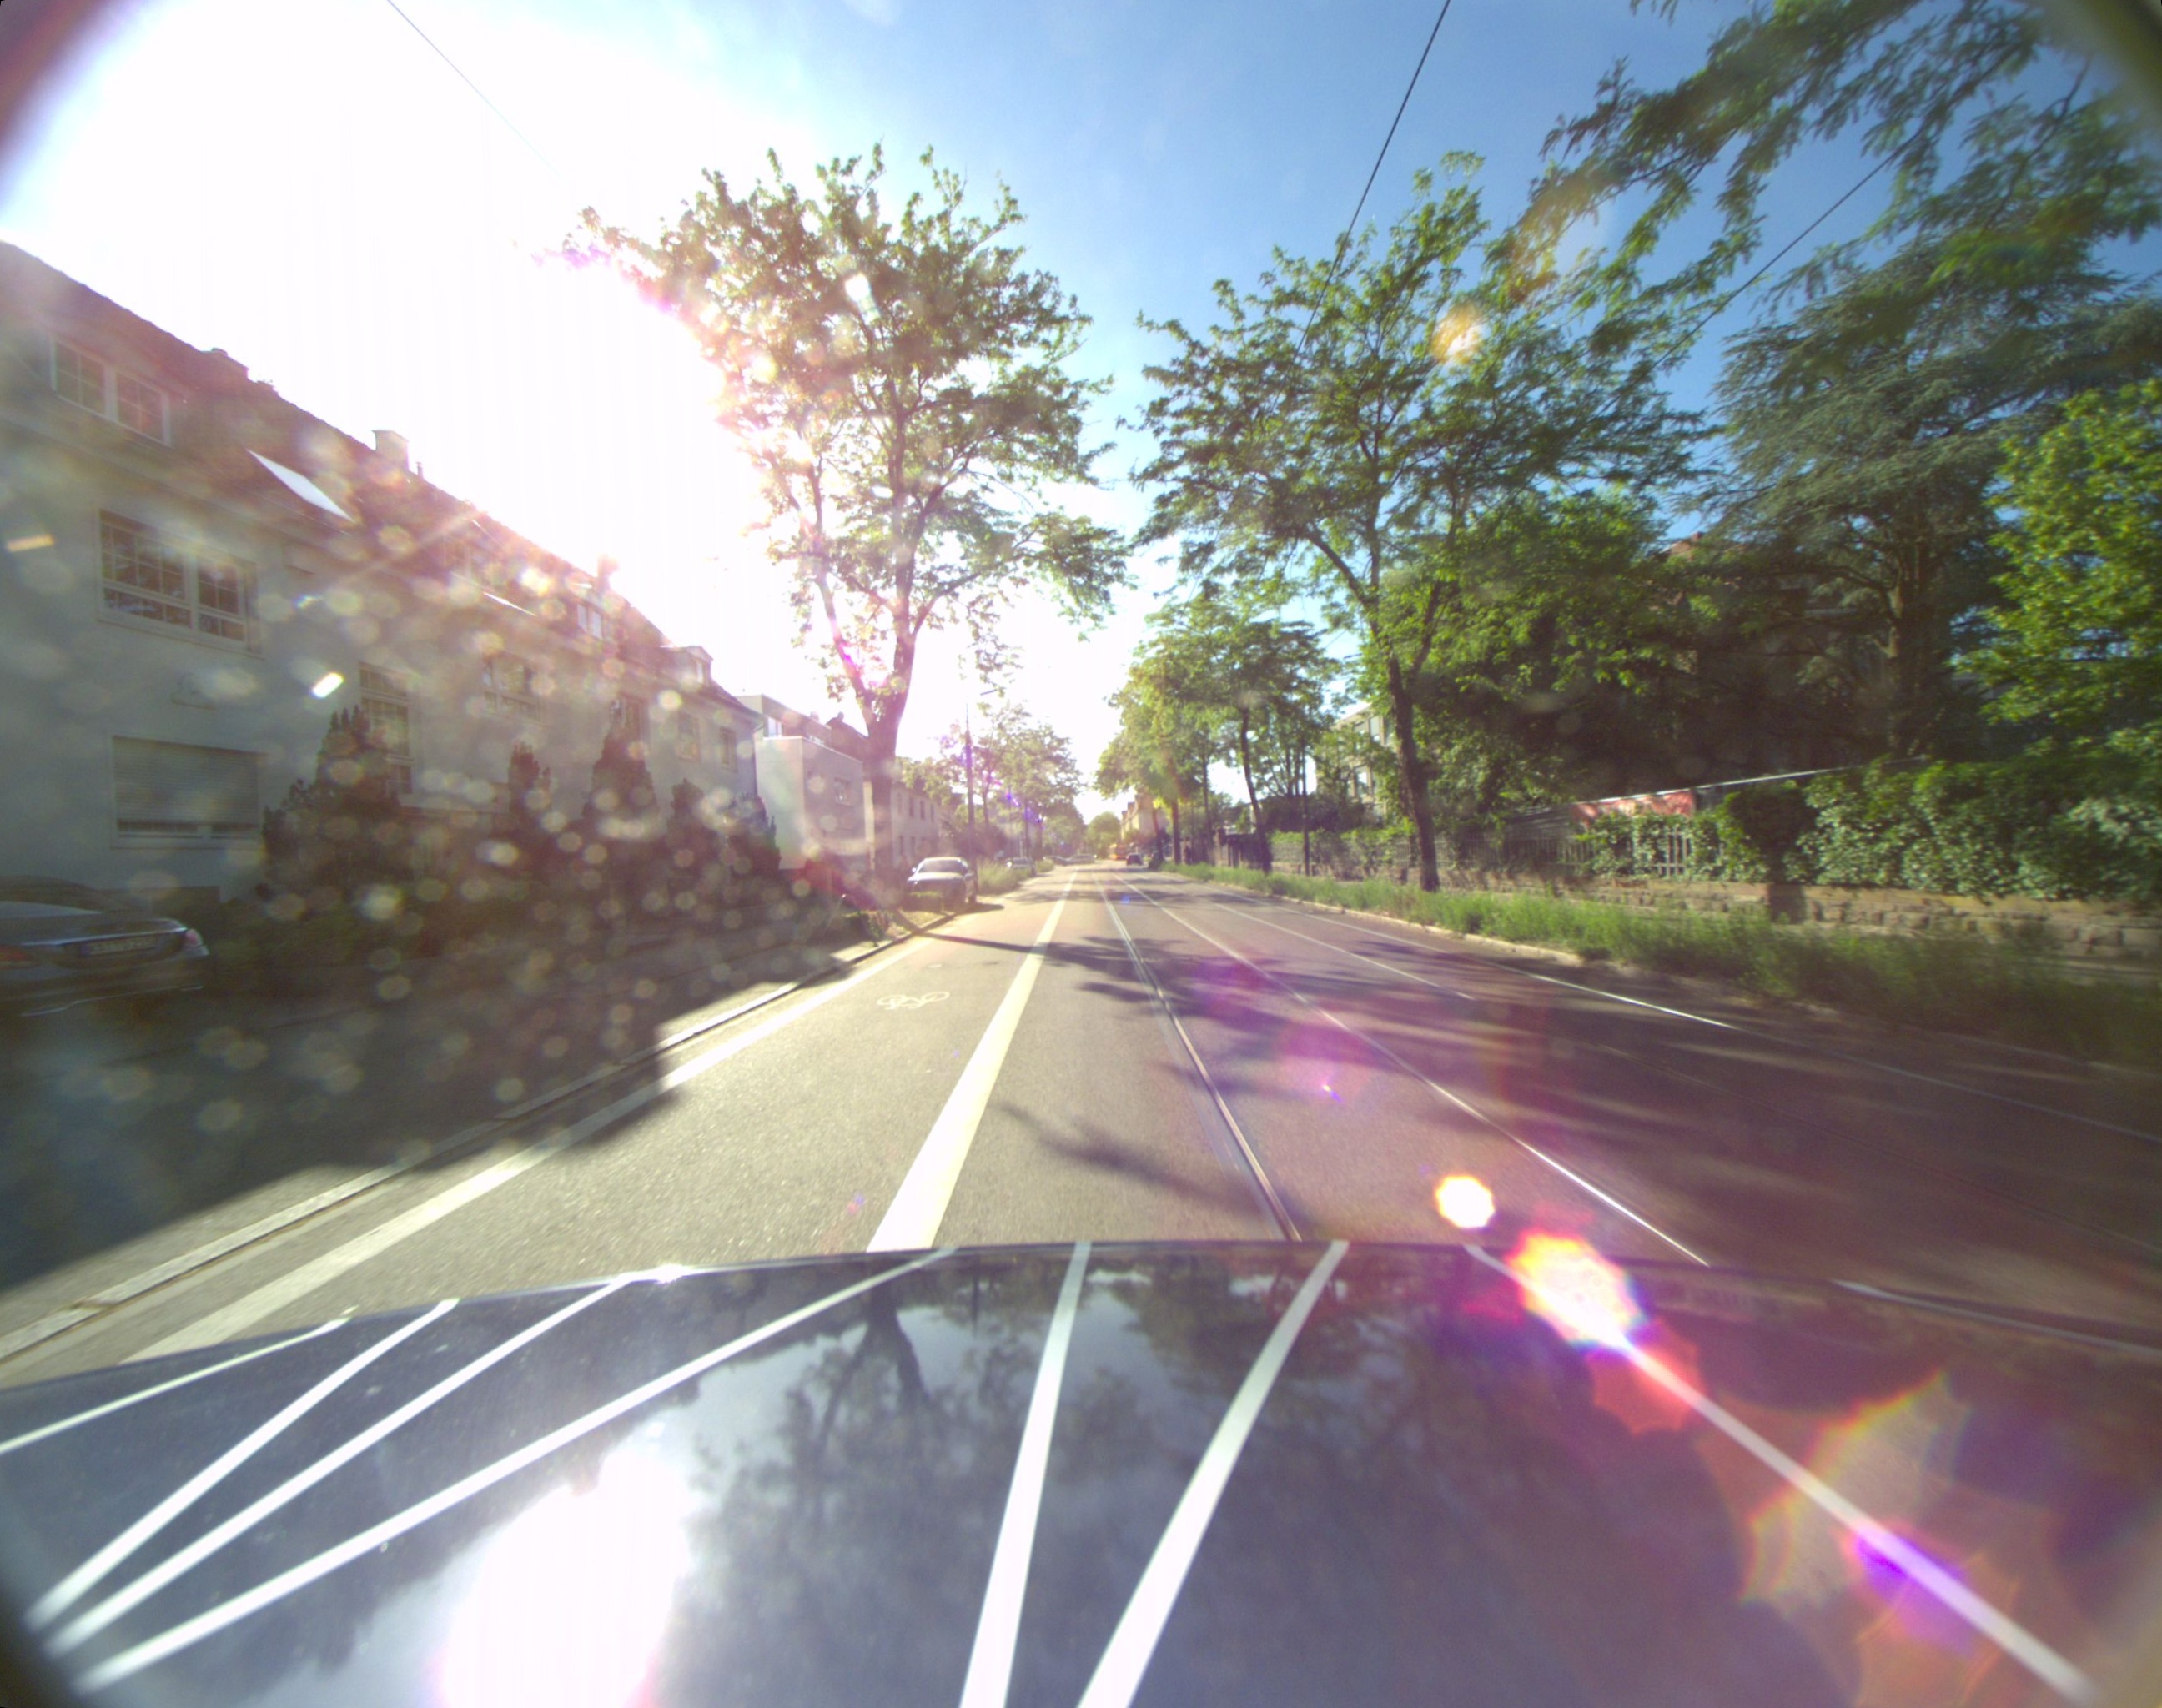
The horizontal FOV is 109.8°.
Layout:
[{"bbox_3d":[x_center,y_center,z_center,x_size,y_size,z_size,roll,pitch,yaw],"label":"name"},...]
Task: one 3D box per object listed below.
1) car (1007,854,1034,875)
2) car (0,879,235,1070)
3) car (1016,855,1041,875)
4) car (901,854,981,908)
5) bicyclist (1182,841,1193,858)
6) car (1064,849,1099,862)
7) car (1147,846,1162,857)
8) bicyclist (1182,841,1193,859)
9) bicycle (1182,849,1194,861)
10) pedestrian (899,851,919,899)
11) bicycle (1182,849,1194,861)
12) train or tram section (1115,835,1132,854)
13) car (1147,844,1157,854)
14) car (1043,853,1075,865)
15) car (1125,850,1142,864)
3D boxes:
[{"bbox_3d":[-4.646,0.791,59.079,1.753,1.486,3.996,-2,0,0],"label":"car"},{"bbox_3d":[-10.950,1.008,6.978,4.431,1.481,1.858,0,0,3],"label":"car"},{"bbox_3d":[-4.402,0.898,64.376,1.753,1.486,4.443,-2,0,0],"label":"car"},{"bbox_3d":[-4.740,0.852,26.368,1.999,1.694,4.476,0,0,-1],"label":"car"},{"bbox_3d":[9.394,-0.394,67.005,0.711,1.490,0.956,-4,1,1],"label":"bicyclist"},{"bbox_3d":[0.072,0.207,106.654,4.574,1.515,2.001,-3,1,6],"label":"car"},{"bbox_3d":[10.727,-0.390,111.185,1.753,1.515,4.035,-3,1,0],"label":"car"},{"bbox_3d":[8.925,-0.327,63.562,0.710,1.462,1.041,-2,1,1],"label":"bicyclist"},{"bbox_3d":[8.939,0.103,63.638,0.713,0.955,2.094,-2,0,1],"label":"bicycle"},{"bbox_3d":[-6.733,0.803,29.717,0.627,1.859,0.732,0,1,-1],"label":"pedestrian"},{"bbox_3d":[9.423,0.045,66.926,0.720,0.968,1.888,-4,1,1],"label":"bicycle"},{"bbox_3d":[8.168,-1.708,145.674,2.811,3.439,6.668,-3,0,1],"label":"train or tram section"},{"bbox_3d":[16.195,-1.141,173.574,1.998,1.954,4.934,-2,0,1],"label":"car"},{"bbox_3d":[-3.014,0.685,104.279,3.994,1.499,1.983,-3,1,10],"label":"car"},{"bbox_3d":[6.255,0.358,91.047,1.753,1.515,4.069,-3,1,0],"label":"car"}]
